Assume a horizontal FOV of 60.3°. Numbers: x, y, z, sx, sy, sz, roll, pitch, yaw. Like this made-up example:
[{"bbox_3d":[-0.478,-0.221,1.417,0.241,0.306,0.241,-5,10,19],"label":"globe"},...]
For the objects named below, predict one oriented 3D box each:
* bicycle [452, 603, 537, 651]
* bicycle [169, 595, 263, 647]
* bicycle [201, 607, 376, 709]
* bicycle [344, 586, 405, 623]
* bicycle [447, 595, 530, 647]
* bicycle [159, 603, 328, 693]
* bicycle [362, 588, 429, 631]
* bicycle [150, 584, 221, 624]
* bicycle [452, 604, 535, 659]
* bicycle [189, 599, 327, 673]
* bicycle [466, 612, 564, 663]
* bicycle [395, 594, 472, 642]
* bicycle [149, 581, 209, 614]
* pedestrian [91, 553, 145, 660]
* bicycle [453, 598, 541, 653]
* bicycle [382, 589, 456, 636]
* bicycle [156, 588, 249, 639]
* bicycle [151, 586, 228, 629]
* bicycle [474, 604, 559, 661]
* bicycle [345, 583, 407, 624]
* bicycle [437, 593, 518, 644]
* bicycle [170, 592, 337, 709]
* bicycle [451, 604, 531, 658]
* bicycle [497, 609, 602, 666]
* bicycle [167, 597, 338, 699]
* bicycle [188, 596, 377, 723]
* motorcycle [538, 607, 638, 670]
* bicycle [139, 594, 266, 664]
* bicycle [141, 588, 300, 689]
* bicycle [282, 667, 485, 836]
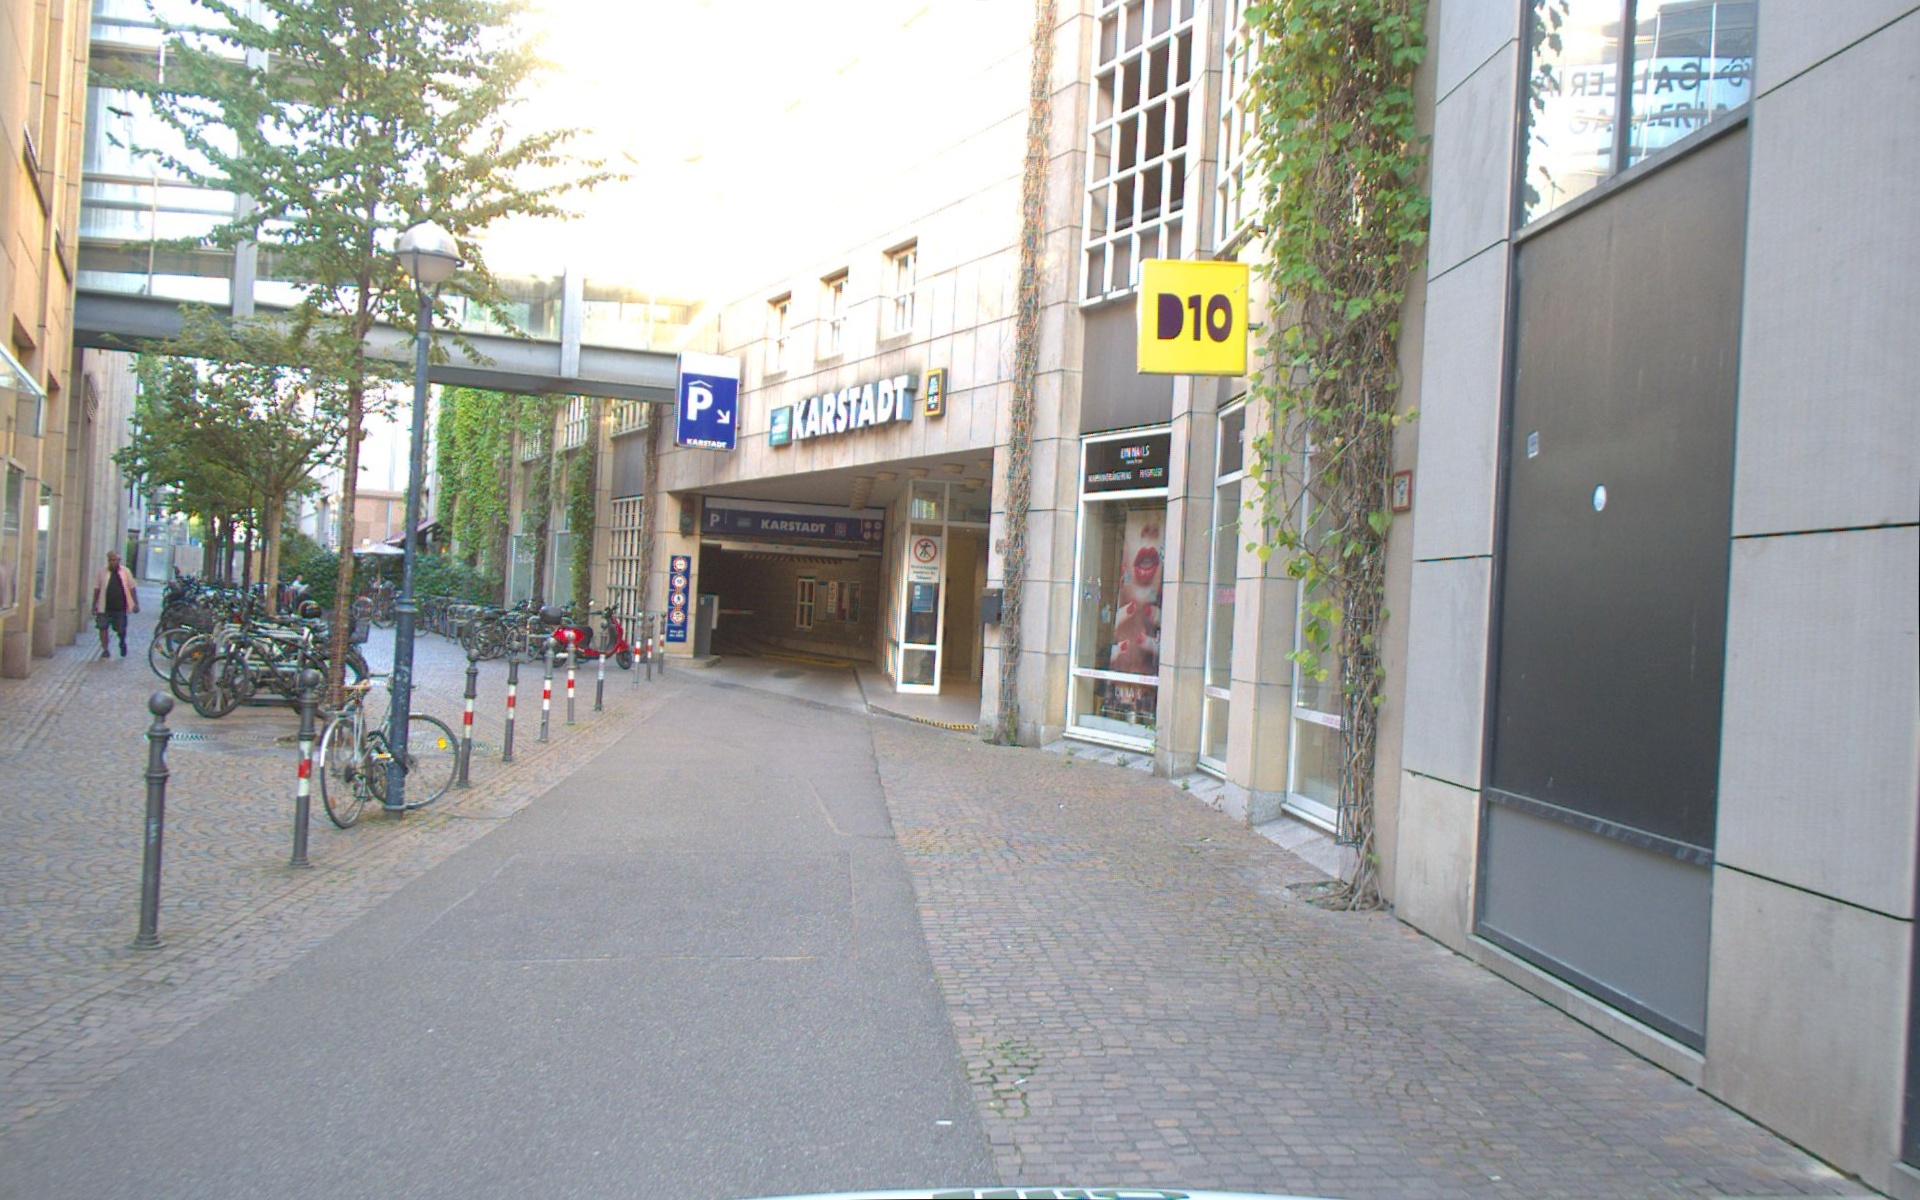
[{"bbox_3d":[-10.452,0.617,37.135,1.751,1.010,0.538,2,0,-26],"label":"bicycle"},{"bbox_3d":[-15.654,0.438,34.796,1.759,1.037,0.477,2,0,-28],"label":"bicycle"},{"bbox_3d":[-7.811,0.679,19.267,1.815,1.142,0.529,2,0,-28],"label":"bicycle"},{"bbox_3d":[-18.748,0.144,52.942,1.751,1.098,0.581,2,0,-26],"label":"bicycle"},{"bbox_3d":[-10.907,0.482,38.270,1.751,1.134,0.538,2,0,-26],"label":"bicycle"},{"bbox_3d":[-8.930,0.610,20.644,1.872,1.070,0.529,2,0,-28],"label":"bicycle"},{"bbox_3d":[-15.987,0.263,46.859,1.749,1.134,0.539,2,0,-23],"label":"bicycle"},{"bbox_3d":[-23.181,0.111,49.536,1.882,1.131,0.477,2,0,-28],"label":"bicycle"},{"bbox_3d":[-9.460,0.642,33.550,1.520,1.067,0.571,2,0,-26],"label":"bicycle"},{"bbox_3d":[-10.581,0.545,24.954,1.855,1.061,0.529,2,0,-28],"label":"bicycle"},{"bbox_3d":[-8.526,0.717,31.709,1.751,0.920,0.460,2,0,-26],"label":"bicycle"},{"bbox_3d":[-13.152,0.454,41.345,1.751,1.134,0.538,2,0,-26],"label":"bicycle"},{"bbox_3d":[-27.674,-0.082,58.613,1.883,1.131,0.476,2,0,-30],"label":"bicycle"},{"bbox_3d":[-13.036,0.100,25.605,0.690,1.610,0.713,2,0,-27],"label":"pedestrian"},{"bbox_3d":[-10.090,0.554,36.068,1.751,1.134,0.538,2,0,-26],"label":"bicycle"},{"bbox_3d":[-14.082,0.326,43.063,1.751,1.134,0.538,2,0,-26],"label":"bicycle"},{"bbox_3d":[-16.289,0.296,35.573,1.759,1.037,0.477,2,0,-28],"label":"bicycle"},{"bbox_3d":[-21.232,0.201,45.597,1.882,1.131,0.477,2,0,-28],"label":"bicycle"},{"bbox_3d":[-8.753,0.646,32.640,1.520,1.067,0.571,2,0,-26],"label":"bicycle"},{"bbox_3d":[-18.299,0.113,51.840,1.751,1.211,0.581,2,0,-26],"label":"bicycle"},{"bbox_3d":[-11.476,0.444,39.340,1.751,1.134,0.538,2,0,-26],"label":"bicycle"},{"bbox_3d":[-7.838,0.565,18.369,1.635,1.252,0.529,2,0,-28],"label":"bicycle"},{"bbox_3d":[-9.888,0.651,34.909,1.520,1.067,0.571,2,0,-26],"label":"bicycle"},{"bbox_3d":[-7.668,0.705,30.941,1.825,0.999,0.460,2,0,-26],"label":"bicycle"},{"bbox_3d":[-8.608,0.590,20.145,1.851,1.198,0.529,2,0,-28],"label":"bicycle"},{"bbox_3d":[-7.023,0.620,17.167,1.746,1.252,0.529,2,0,-28],"label":"bicycle"},{"bbox_3d":[-6.610,0.685,29.437,1.642,1.069,0.460,2,0,-26],"label":"motorcycle"},{"bbox_3d":[-12.151,0.472,26.562,1.804,1.061,0.529,2,0,-28],"label":"bicycle"},{"bbox_3d":[-9.495,0.502,21.264,1.812,1.246,0.529,2,0,-28],"label":"bicycle"},{"bbox_3d":[-3.797,0.967,11.030,0.482,0.955,1.660,4,0,10],"label":"bicycle"}]
